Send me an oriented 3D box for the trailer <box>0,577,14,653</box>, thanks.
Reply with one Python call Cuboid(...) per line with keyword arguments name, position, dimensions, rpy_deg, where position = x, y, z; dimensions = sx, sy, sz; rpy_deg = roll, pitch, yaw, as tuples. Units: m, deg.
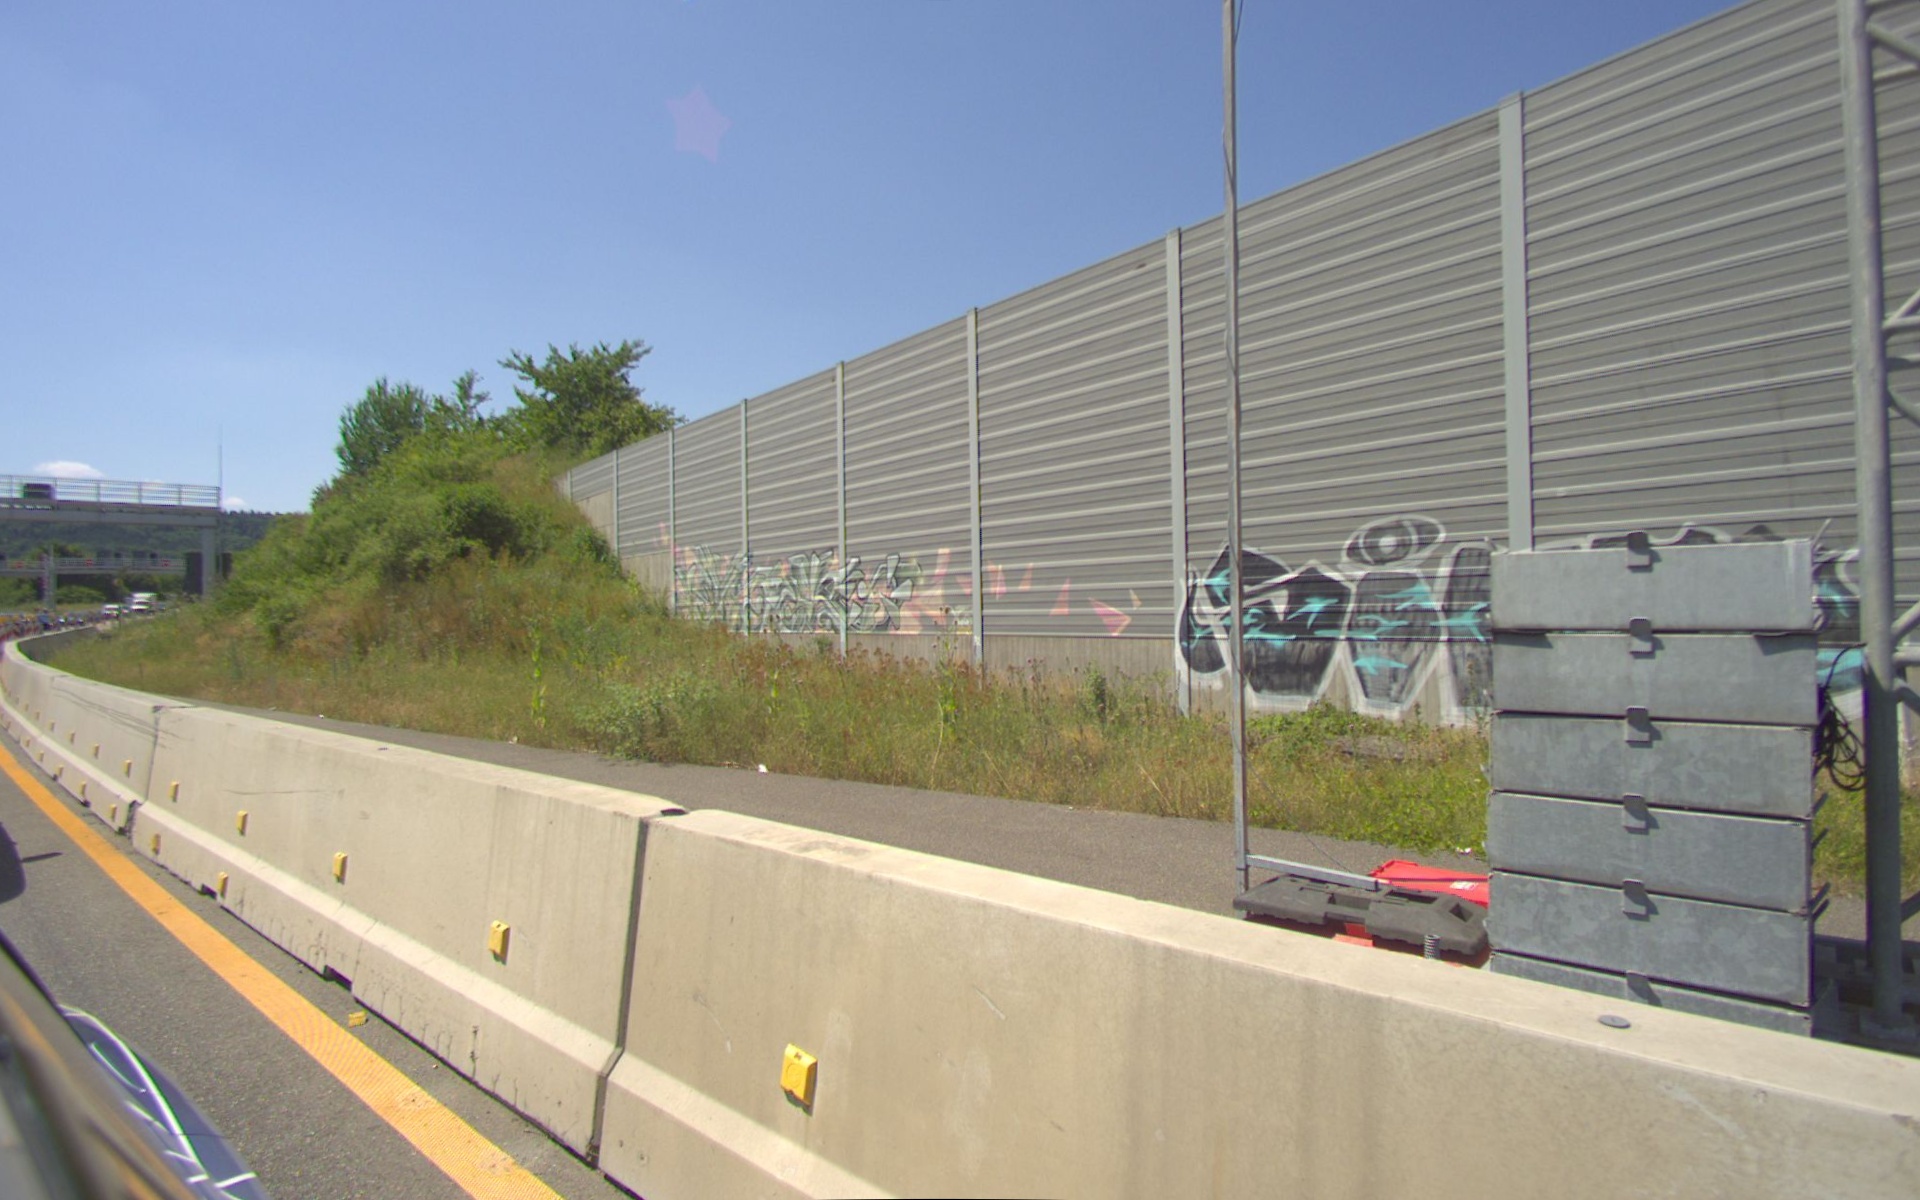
Cuboid(name="trailer", position=(-45.809, 0.663, 45.560), dimensions=(3.187, 3.695, 17.455), rpy_deg=(-2, 0, -38))
